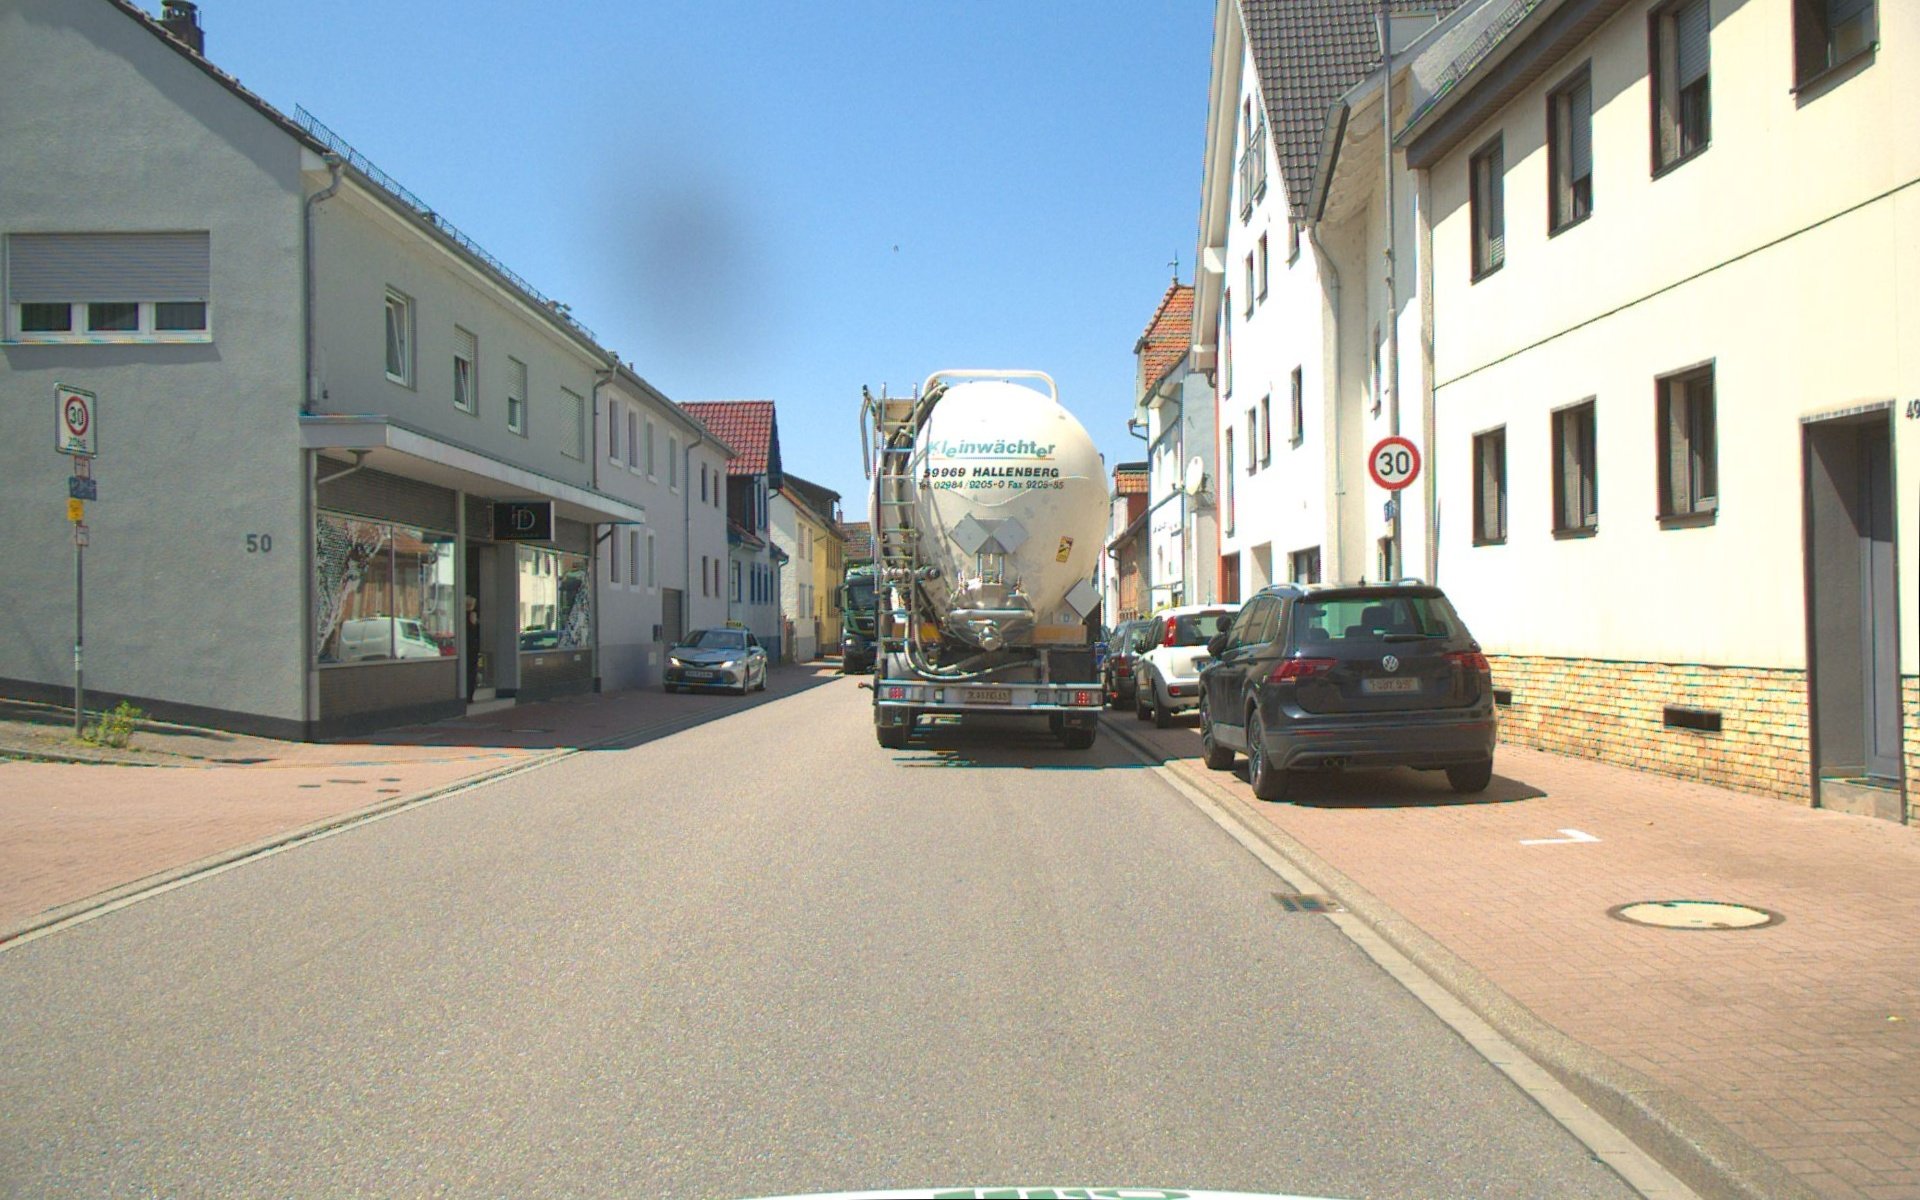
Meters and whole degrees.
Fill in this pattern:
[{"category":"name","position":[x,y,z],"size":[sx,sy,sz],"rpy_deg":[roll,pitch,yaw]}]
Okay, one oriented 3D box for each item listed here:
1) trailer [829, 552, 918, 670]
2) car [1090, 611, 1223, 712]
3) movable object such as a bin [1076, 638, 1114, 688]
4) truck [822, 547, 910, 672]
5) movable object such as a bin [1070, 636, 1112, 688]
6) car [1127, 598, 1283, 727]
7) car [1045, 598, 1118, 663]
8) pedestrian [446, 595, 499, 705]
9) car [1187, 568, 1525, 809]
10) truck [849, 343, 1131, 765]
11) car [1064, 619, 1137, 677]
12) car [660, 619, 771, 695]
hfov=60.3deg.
[{"category":"trailer","position":[-3.235,0.552,66.019],"size":[2.577,4.049,15.696],"rpy_deg":[-2,-1,0]},{"category":"car","position":[3.238,0.996,28.121],"size":[1.665,1.472,4.836],"rpy_deg":[-3,-1,1]},{"category":"movable object such as a bin","position":[2.936,1.364,35.955],"size":[0.641,1.053,0.684],"rpy_deg":[-3,-1,16]},{"category":"truck","position":[-3.244,0.389,58.518],"size":[2.565,4.055,6.851],"rpy_deg":[-2,-1,0]},{"category":"movable object such as a bin","position":[2.904,1.371,36.662],"size":[0.707,1.092,0.972],"rpy_deg":[-3,-1,16]},{"category":"car","position":[3.274,0.825,22.707],"size":[1.574,1.549,3.545],"rpy_deg":[-3,-1,1]},{"category":"car","position":[3.921,0.986,54.079],"size":[1.906,2.005,4.783],"rpy_deg":[-1,-1,-1]},{"category":"pedestrian","position":[-7.750,0.789,26.310],"size":[0.612,1.714,0.771],"rpy_deg":[0,-1,0]},{"category":"car","position":[3.147,0.643,14.111],"size":[1.765,1.642,4.548],"rpy_deg":[-3,0,1]},{"category":"truck","position":[0.346,-0.368,19.889],"size":[2.676,4.030,8.141],"rpy_deg":[0,-1,1]},{"category":"car","position":[3.873,1.313,46.312],"size":[1.733,1.491,4.578],"rpy_deg":[-1,-1,1]},{"category":"car","position":[-5.519,1.260,37.839],"size":[1.771,1.584,4.564],"rpy_deg":[2,-1,1]}]
